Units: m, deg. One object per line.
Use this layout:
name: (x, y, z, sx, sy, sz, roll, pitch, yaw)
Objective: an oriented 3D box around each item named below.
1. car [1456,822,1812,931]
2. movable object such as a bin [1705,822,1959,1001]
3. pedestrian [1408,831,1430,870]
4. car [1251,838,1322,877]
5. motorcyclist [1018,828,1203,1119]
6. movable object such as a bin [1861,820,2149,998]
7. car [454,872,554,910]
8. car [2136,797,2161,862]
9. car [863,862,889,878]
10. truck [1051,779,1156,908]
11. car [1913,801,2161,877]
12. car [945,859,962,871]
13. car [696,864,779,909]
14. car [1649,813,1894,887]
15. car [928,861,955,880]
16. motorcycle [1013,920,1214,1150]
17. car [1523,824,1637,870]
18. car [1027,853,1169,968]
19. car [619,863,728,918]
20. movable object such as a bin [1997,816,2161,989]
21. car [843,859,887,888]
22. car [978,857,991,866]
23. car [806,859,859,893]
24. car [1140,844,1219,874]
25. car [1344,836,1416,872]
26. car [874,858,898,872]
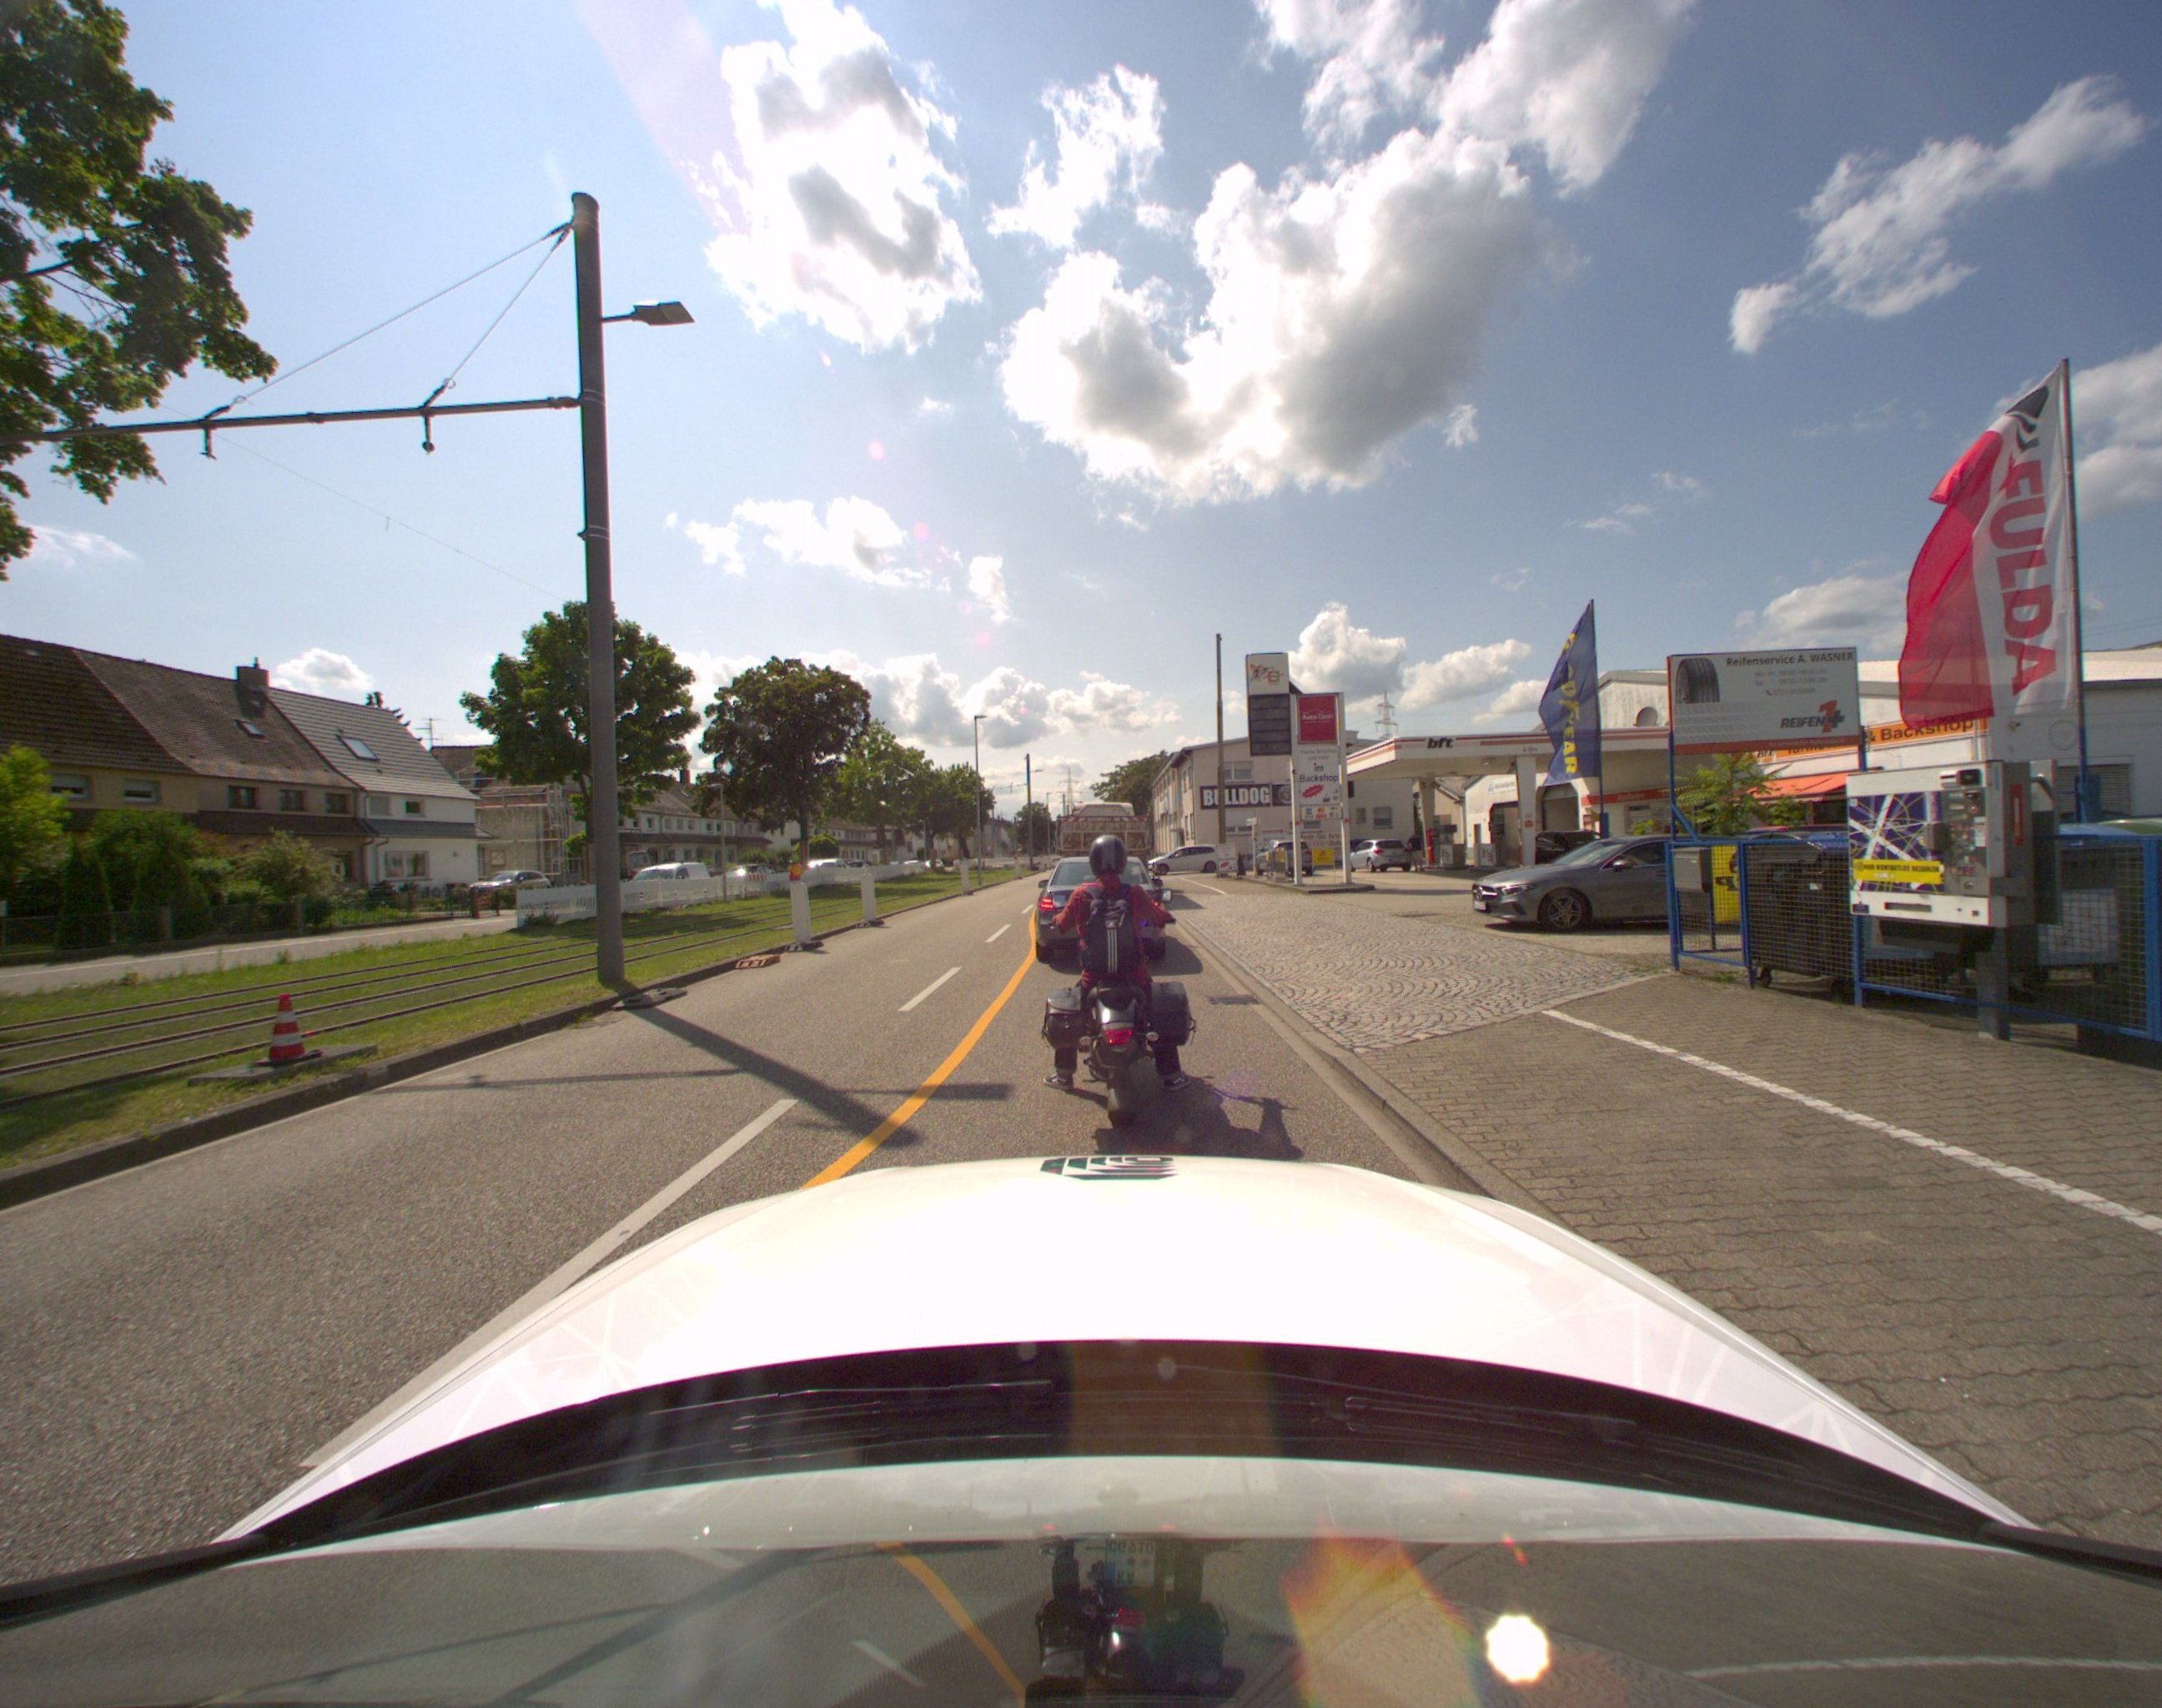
car: (8.343, 0.329, 12.612, 4.252, 1.415, 1.676, -2, 0, 5)
movable object such as a bin: (6.691, 0.476, 7.361, 1.104, 1.436, 1.244, -2, 0, 1)
pedestrian: (14.653, -0.133, 35.320, 0.701, 1.656, 0.551, -2, 0, 37)
car: (9.118, 0.149, 36.455, 1.665, 1.562, 4.235, -2, 0, -6)
motorcyclist: (0.182, 0.674, 5.143, 0.975, 1.602, 1.088, -2, 0, 1)
movable object such as a bin: (8.086, 0.443, 7.221, 1.104, 1.396, 1.244, -2, 0, 1)
car: (-27.436, 1.728, 38.895, 1.769, 1.519, 4.002, -2, 0, 2)
car: (26.528, -0.639, 18.005, 4.180, 1.463, 1.587, -2, 0, 2)
car: (-24.389, 1.842, 97.043, 1.769, 1.722, 4.130, -2, 0, 2)
truck: (0.729, -0.289, 25.502, 2.628, 3.296, 8.059, -2, 0, 2)
car: (21.524, -0.343, 18.168, 4.180, 1.463, 1.587, -2, 0, 2)
car: (-19.634, 1.639, 125.918, 1.769, 1.722, 4.130, -2, 0, 2)
car: (-15.406, 1.398, 36.800, 1.769, 1.774, 4.230, -2, 0, 2)
car: (15.776, -0.091, 18.760, 4.180, 1.463, 1.587, -2, 0, 2)
car: (-13.732, 1.634, 80.352, 1.769, 1.722, 4.130, -2, 0, 2)
motorcycle: (0.207, 1.023, 5.447, 0.975, 0.897, 2.654, -2, 0, 2)
car: (18.121, -0.249, 29.787, 1.800, 1.503, 3.833, -2, 0, 0)
car: (0.284, 0.730, 12.535, 1.816, 1.452, 4.002, 0, 0, 2)
car: (-15.429, 1.316, 31.157, 1.769, 1.821, 4.366, -2, 0, 2)
movable object such as a bin: (9.488, 0.372, 7.133, 1.397, 1.396, 1.338, -2, 0, 1)
car: (-14.803, 1.337, 56.040, 1.769, 1.805, 4.130, -2, 0, 2)
car: (-19.097, 1.536, 161.355, 1.769, 1.722, 4.252, -2, 0, 2)
car: (-15.112, 1.331, 49.800, 1.769, 1.867, 4.130, -2, 0, 2)
car: (5.656, 0.292, 47.063, 4.225, 1.543, 1.669, -2, 0, -7)
car: (13.478, -0.009, 36.922, 1.800, 1.503, 3.832, -2, 0, -1)
car: (-25.161, 1.405, 105.204, 1.769, 1.722, 4.130, -2, 0, 2)
